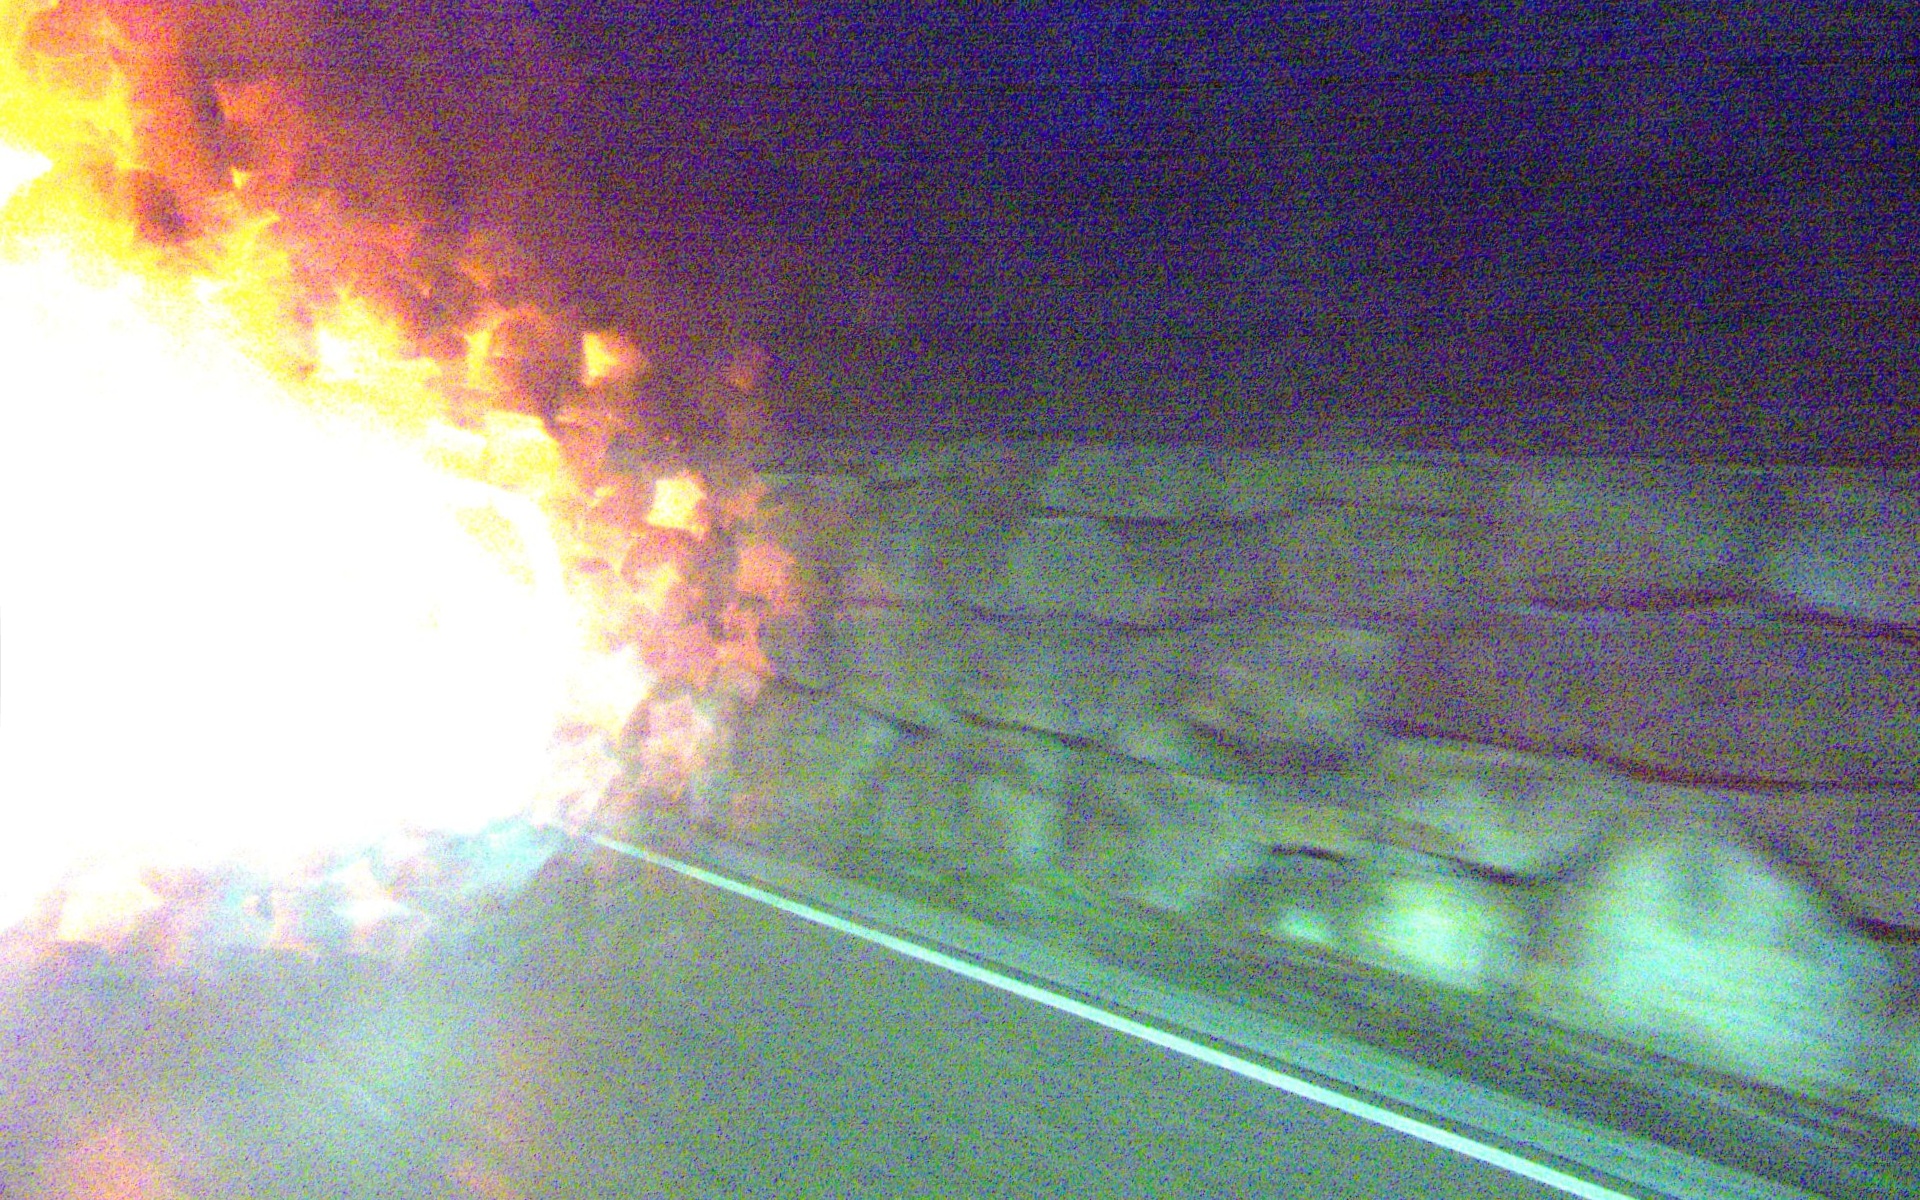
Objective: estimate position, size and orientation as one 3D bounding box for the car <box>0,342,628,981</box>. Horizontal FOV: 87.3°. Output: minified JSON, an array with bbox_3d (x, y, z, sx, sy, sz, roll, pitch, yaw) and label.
[{"bbox_3d":[-4.061,0.047,5.130,4.502,2.045,1.795,7,-1,31],"label":"car"}]
